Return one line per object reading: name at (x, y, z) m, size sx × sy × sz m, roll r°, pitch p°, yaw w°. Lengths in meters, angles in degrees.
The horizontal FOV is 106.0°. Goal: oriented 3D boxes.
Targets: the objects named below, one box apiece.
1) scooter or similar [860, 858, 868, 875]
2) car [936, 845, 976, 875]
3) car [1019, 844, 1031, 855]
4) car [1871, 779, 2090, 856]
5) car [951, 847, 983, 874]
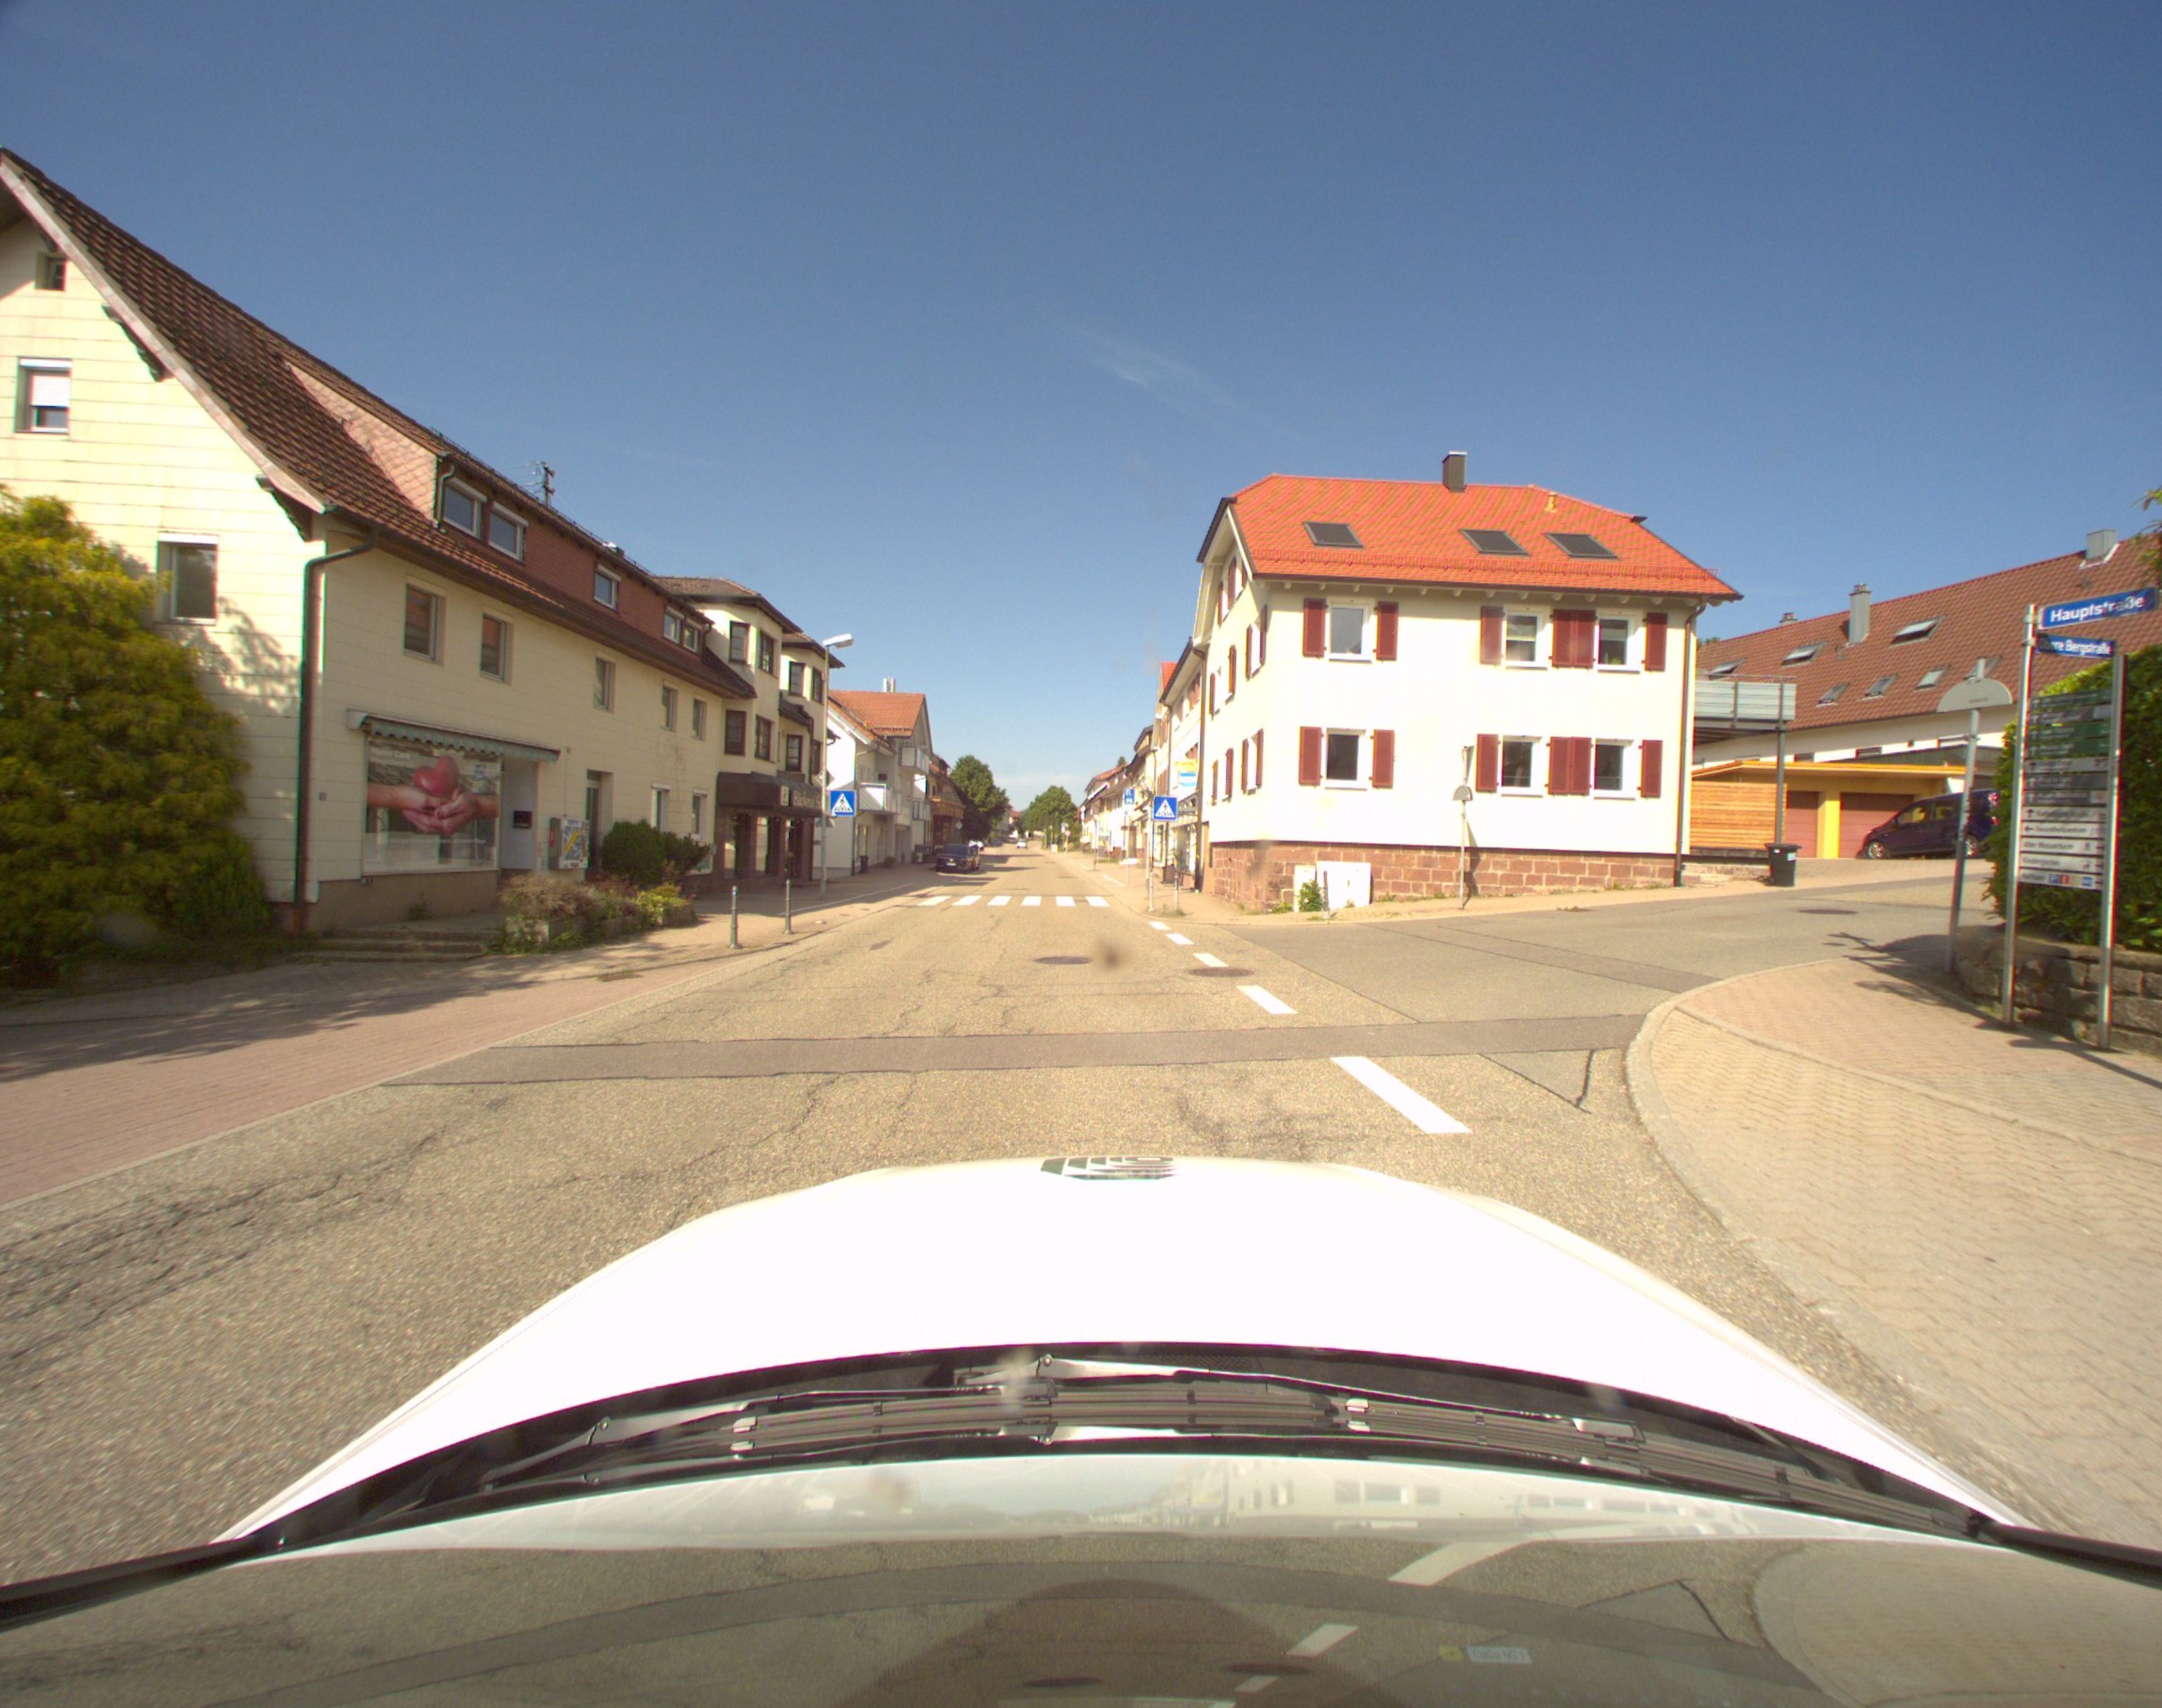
scooter or similar at (-11.067, 0.632, 41.527) m, size 0.351 × 0.890 × 0.394 m, roll -1°, pitch 0°, yaw -7°
car at (-7.208, 0.332, 47.262) m, size 1.668 × 1.533 × 3.534 m, roll 5°, pitch 0°, yaw -1°
car at (-11.305, -0.904, 164.001) m, size 2.491 × 2.013 × 4.298 m, roll -1°, pitch 0°, yaw -4°
car at (24.566, -0.921, 22.494) m, size 1.719 × 1.865 × 4.004 m, roll -2°, pitch 0°, yaw 3°
car at (-7.342, 0.394, 52.782) m, size 1.665 × 1.674 × 3.309 m, roll -1°, pitch 0°, yaw -1°
